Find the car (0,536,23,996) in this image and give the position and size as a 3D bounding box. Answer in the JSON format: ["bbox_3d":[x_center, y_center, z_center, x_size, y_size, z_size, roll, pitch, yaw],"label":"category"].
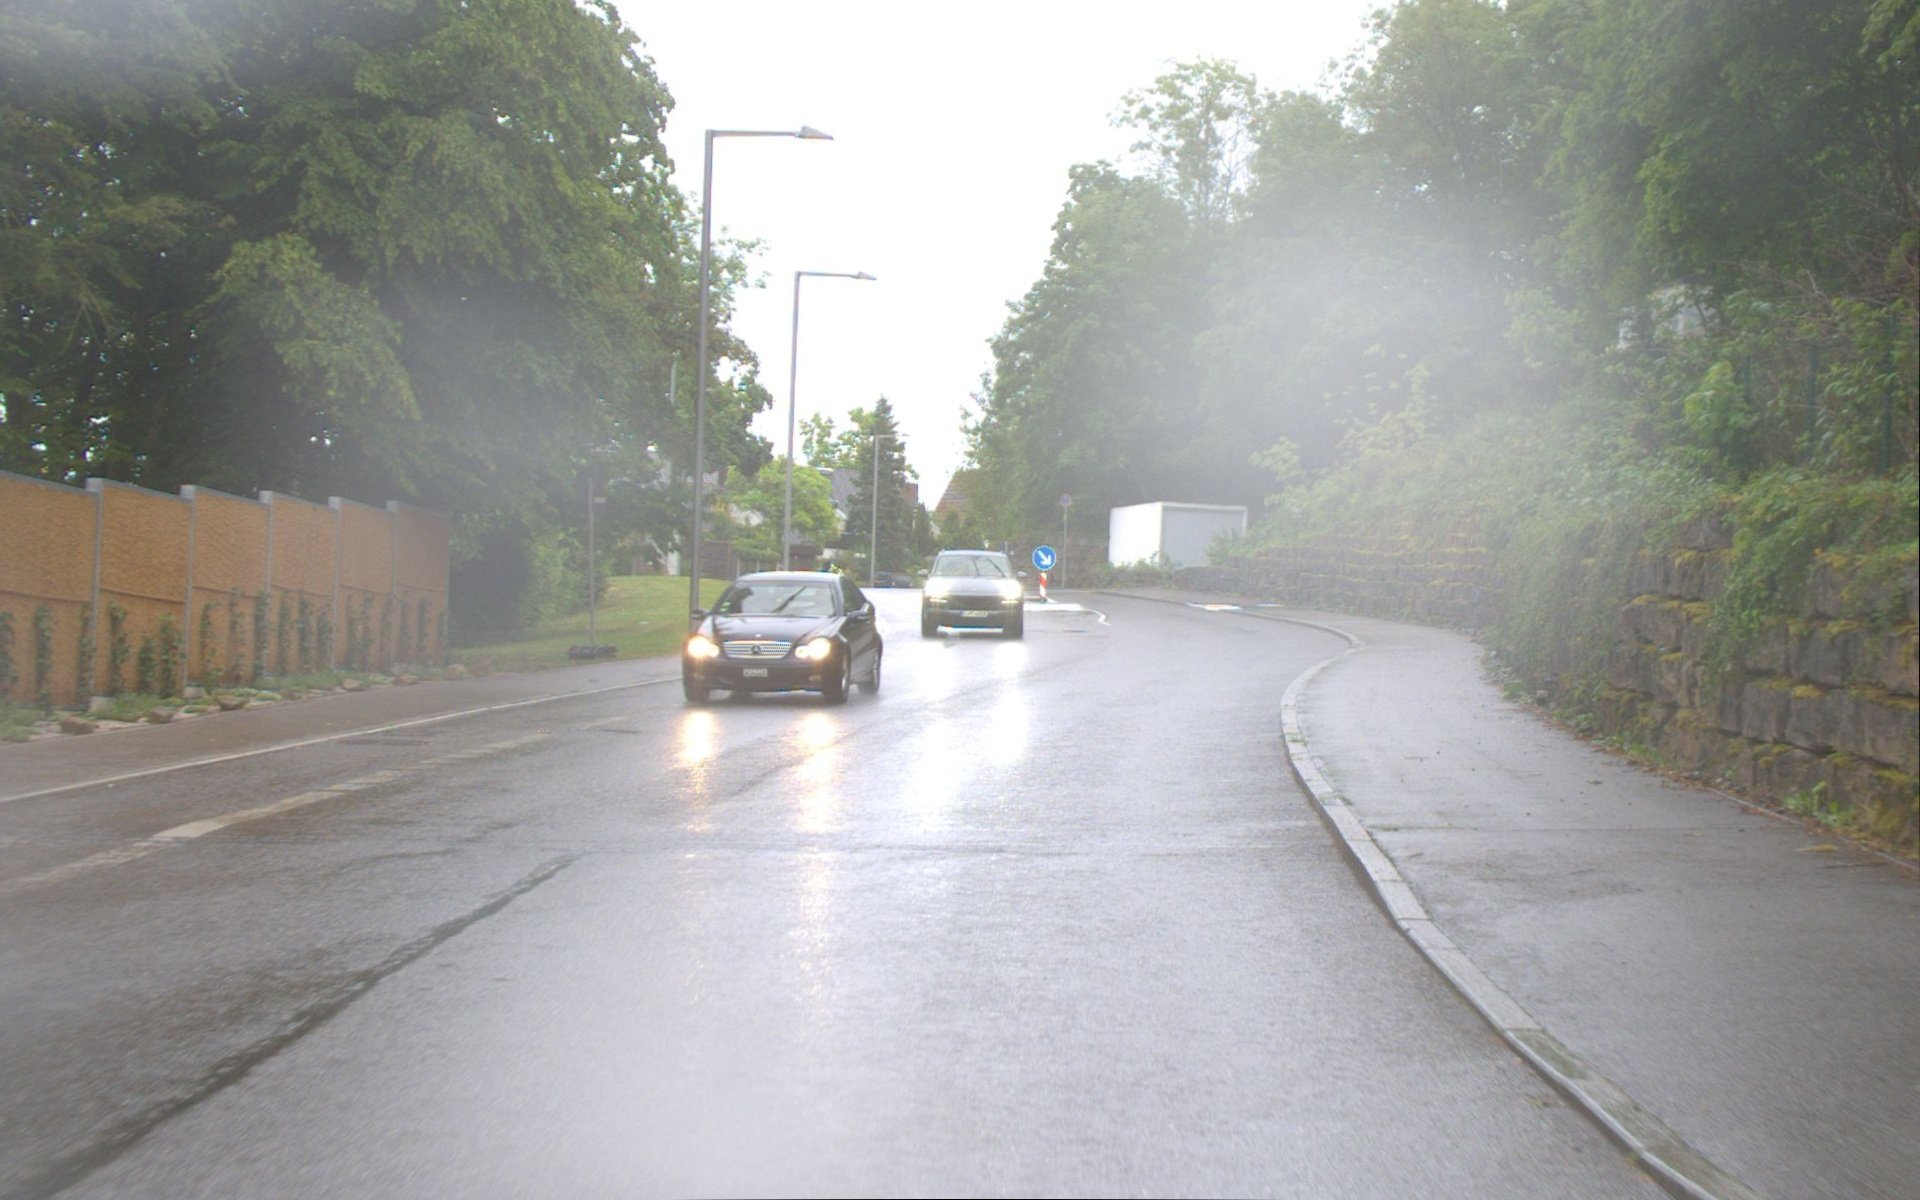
[{"bbox_3d":[-4.094,0.542,9.105,1.834,1.506,4.617,2,1,1],"label":"car"}]

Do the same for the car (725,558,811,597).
[{"bbox_3d":[-9.546,-1.131,170.641,2.008,1.626,3.998,5,-1,-44],"label":"car"}]

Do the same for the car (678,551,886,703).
[{"bbox_3d":[-1.875,0.260,37.419,1.834,1.506,4.169,2,1,2],"label":"car"}]

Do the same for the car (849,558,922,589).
[{"bbox_3d":[-3.898,-1.397,179.021,1.934,1.384,4.000,5,-1,-31],"label":"car"}]

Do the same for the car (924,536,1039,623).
[{"bbox_3d":[0.456,-0.416,67.931,1.918,1.642,4.546,1,1,5],"label":"car"}]
